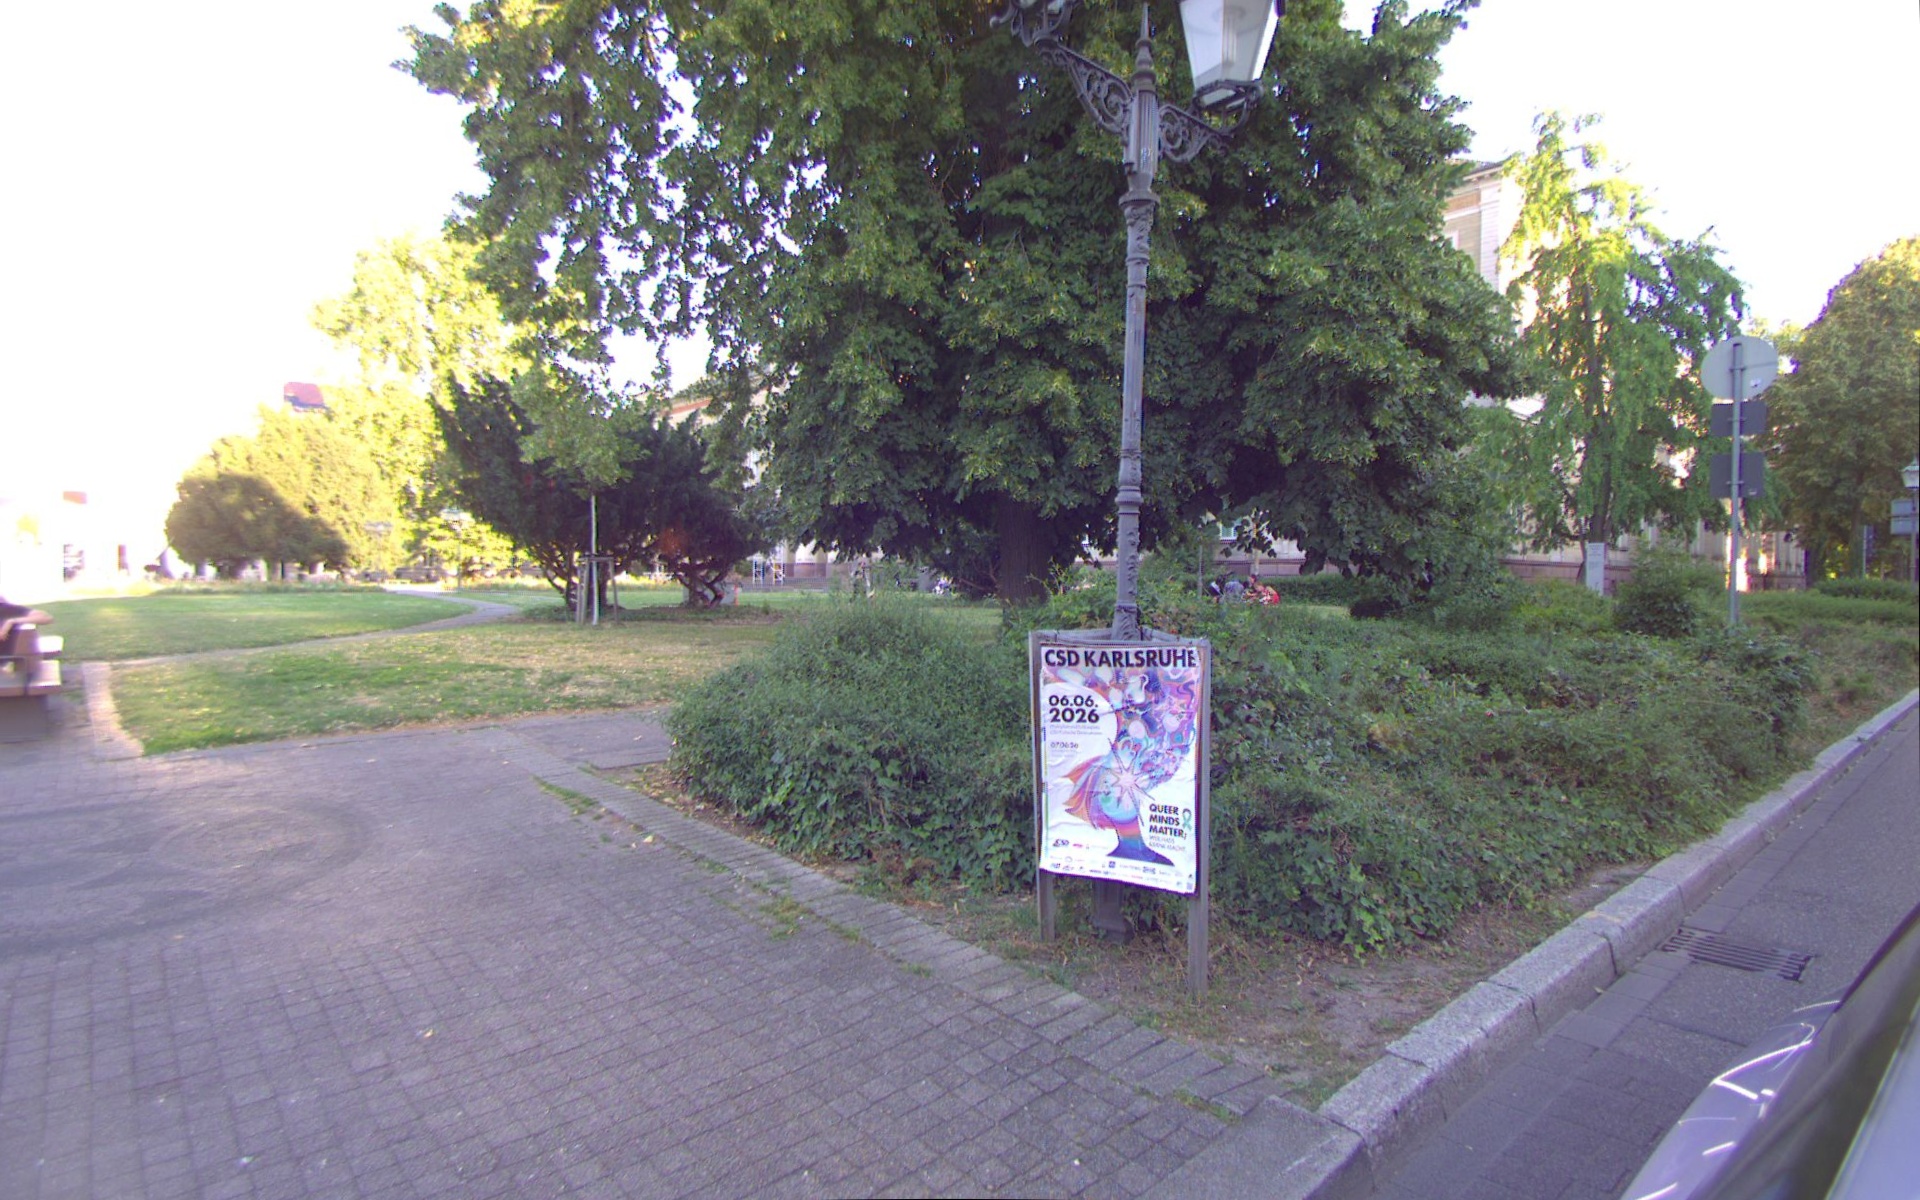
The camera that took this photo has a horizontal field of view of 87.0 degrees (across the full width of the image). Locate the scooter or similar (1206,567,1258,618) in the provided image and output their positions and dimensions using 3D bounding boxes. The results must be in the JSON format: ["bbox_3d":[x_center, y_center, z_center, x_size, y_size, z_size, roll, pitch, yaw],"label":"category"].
[{"bbox_3d":[7.011,-0.203,26.115,1.212,1.261,0.413,2,2,34],"label":"scooter or similar"}]

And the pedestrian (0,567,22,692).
[{"bbox_3d":[-10.859,0.319,11.099,0.596,1.358,0.806,2,2,43],"label":"pedestrian"}]

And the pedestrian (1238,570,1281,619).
[{"bbox_3d":[7.550,-0.138,25.505,0.778,1.206,0.666,0,2,-13],"label":"pedestrian"}]

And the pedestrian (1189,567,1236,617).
[{"bbox_3d":[6.261,-0.198,25.126,0.775,1.206,0.809,-1,2,-38],"label":"pedestrian"}]

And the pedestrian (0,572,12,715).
[{"bbox_3d":[-8.972,0.393,8.810,0.590,1.277,0.868,1,1,18],"label":"pedestrian"}]

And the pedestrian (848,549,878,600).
[{"bbox_3d":[-3.457,-0.906,35.961,0.746,1.769,0.771,-1,2,-44],"label":"pedestrian"}]

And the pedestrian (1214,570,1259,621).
[{"bbox_3d":[6.679,-0.120,24.460,0.733,1.206,0.724,-1,2,-38],"label":"pedestrian"}]

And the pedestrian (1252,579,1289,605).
[{"bbox_3d":[7.558,-0.203,24.614,0.537,0.556,1.364,5,4,29],"label":"pedestrian"}]

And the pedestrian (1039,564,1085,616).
[{"bbox_3d":[2.725,-0.279,27.068,0.913,1.364,0.874,2,2,34],"label":"pedestrian"}]

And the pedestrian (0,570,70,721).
[{"bbox_3d":[-8.333,0.376,8.689,0.675,1.253,0.813,1,1,19],"label":"pedestrian"}]

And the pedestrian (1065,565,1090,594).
[{"bbox_3d":[5.927,-1.043,51.005,1.026,1.414,0.695,0,2,-41],"label":"pedestrian"}]

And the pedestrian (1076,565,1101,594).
[{"bbox_3d":[6.396,-1.039,50.240,1.026,1.414,0.695,0,2,-41],"label":"pedestrian"}]

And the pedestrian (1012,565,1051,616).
[{"bbox_3d":[1.935,-0.267,27.448,0.756,1.364,0.779,2,2,33],"label":"pedestrian"}]

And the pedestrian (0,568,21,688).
[{"bbox_3d":[-11.316,0.319,11.574,0.596,1.358,0.806,2,2,43],"label":"pedestrian"}]

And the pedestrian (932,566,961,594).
[{"bbox_3d":[-0.785,-1.153,58.701,1.540,1.575,0.801,-1,2,-41],"label":"pedestrian"}]

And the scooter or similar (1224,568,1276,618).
[{"bbox_3d":[7.556,-0.201,26.385,1.213,1.261,0.413,2,2,37],"label":"scooter or similar"}]

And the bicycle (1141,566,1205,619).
[{"bbox_3d":[5.478,-0.213,25.983,0.619,1.316,1.987,2,2,44],"label":"bicycle"}]
